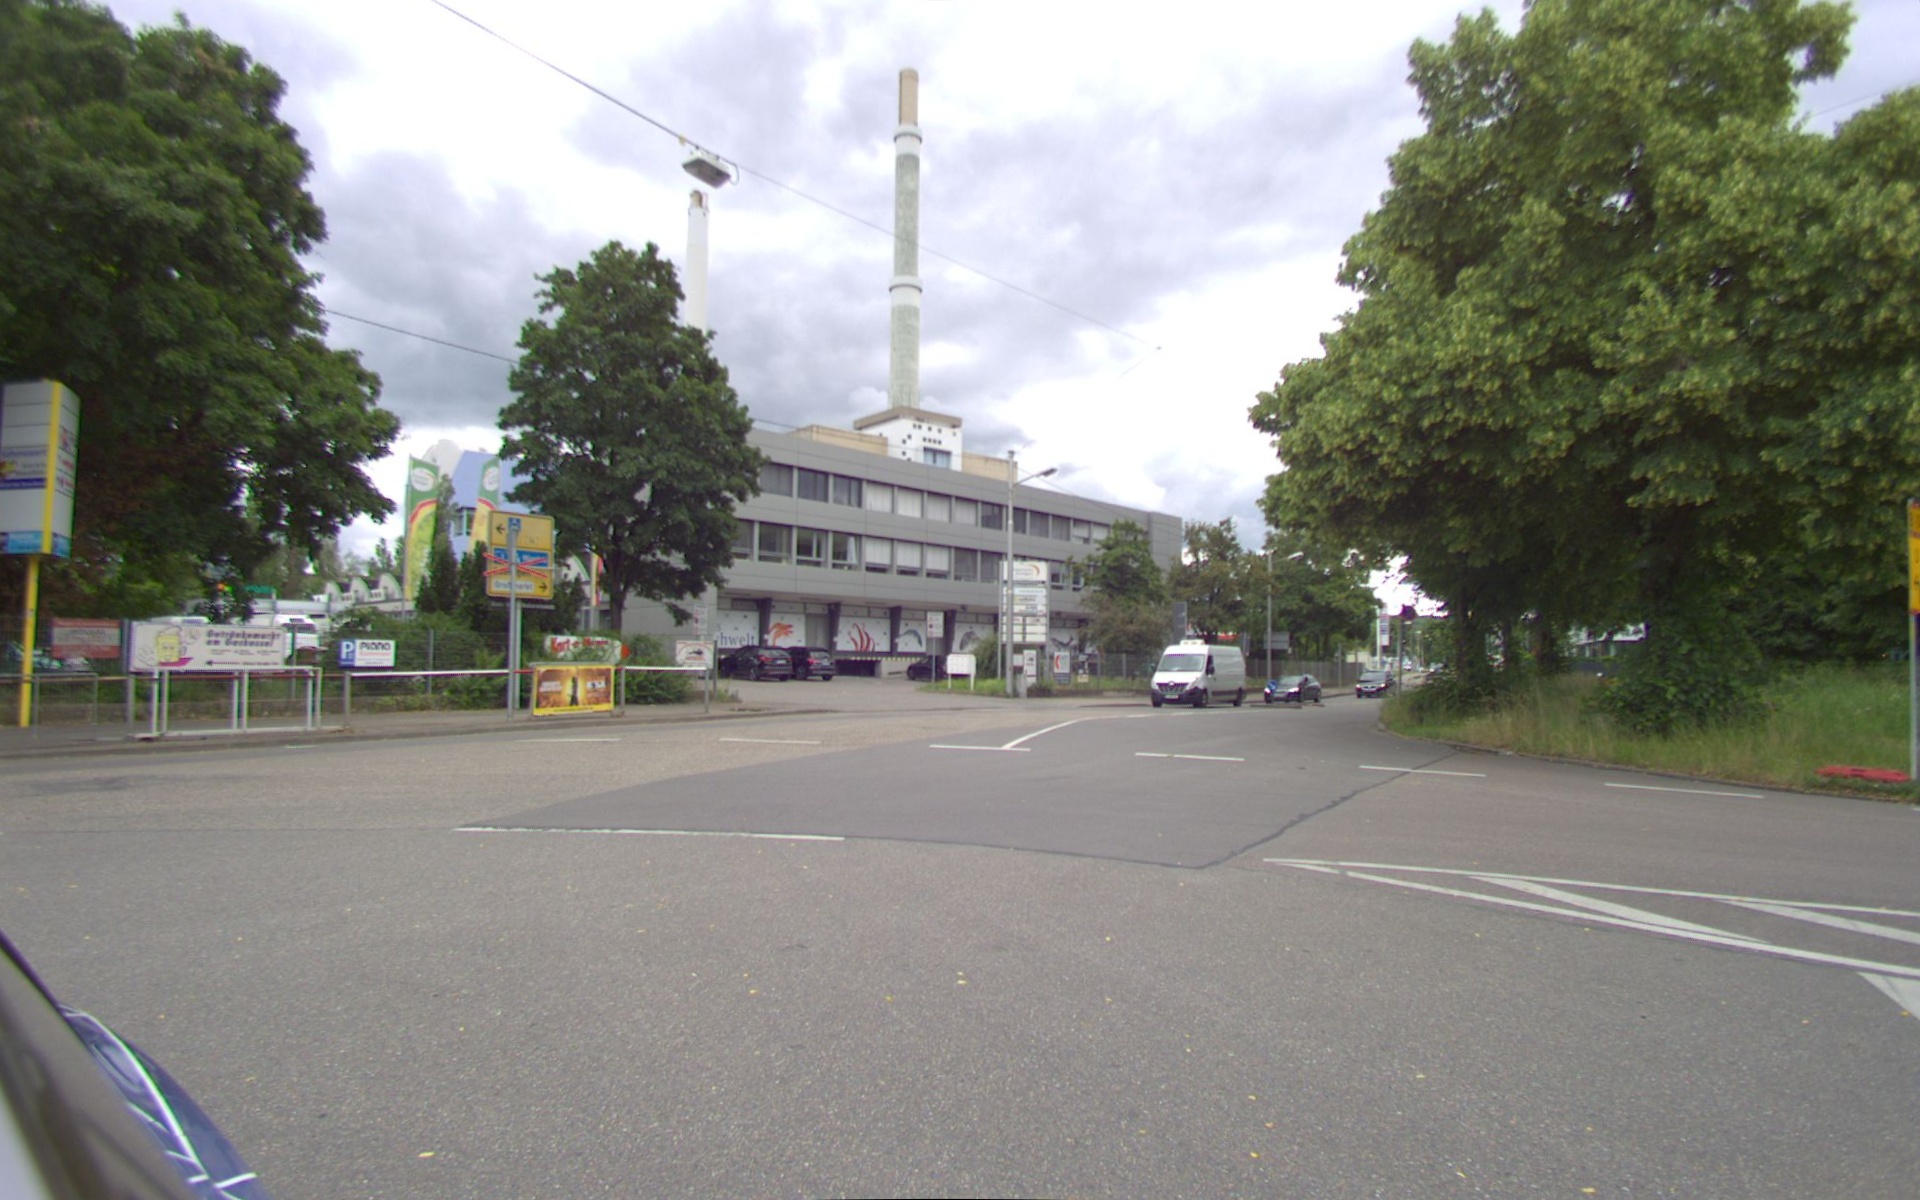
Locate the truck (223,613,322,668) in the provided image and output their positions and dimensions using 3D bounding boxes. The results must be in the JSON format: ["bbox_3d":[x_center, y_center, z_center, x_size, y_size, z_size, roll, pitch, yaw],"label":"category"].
[{"bbox_3d":[-54.188,3.305,79.428,15.727,3.964,2.812,-3,-5,43],"label":"truck"}]

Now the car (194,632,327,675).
[{"bbox_3d":[-47.672,3.732,69.163,2.244,2.754,7.050,-3,-6,44],"label":"car"}]

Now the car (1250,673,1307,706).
[{"bbox_3d":[15.943,4.438,50.581,1.858,1.524,4.396,-2,-4,29],"label":"car"}]

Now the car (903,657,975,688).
[{"bbox_3d":[-1.207,3.942,55.508,2.015,1.456,4.844,2,-2,-27],"label":"car"}]

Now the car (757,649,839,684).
[{"bbox_3d":[-8.183,3.331,50.930,1.812,1.630,4.426,4,-4,-45],"label":"car"}]

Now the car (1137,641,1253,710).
[{"bbox_3d":[9.238,2.918,39.356,2.383,2.478,6.030,-3,-5,33],"label":"car"}]

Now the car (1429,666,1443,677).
[{"bbox_3d":[68.977,10.357,146.674,1.786,1.653,4.403,-2,-4,25],"label":"car"}]

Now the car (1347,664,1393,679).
[{"bbox_3d":[53.400,9.319,131.764,5.435,1.884,2.009,-2,-4,26],"label":"car"}]

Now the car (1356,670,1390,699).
[{"bbox_3d":[24.706,5.019,60.580,1.784,1.653,4.407,-1,-4,22],"label":"car"}]

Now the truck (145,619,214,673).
[{"bbox_3d":[-63.516,3.801,82.287,9.191,4.198,2.956,-3,-5,44],"label":"truck"}]

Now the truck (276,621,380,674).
[{"bbox_3d":[-51.628,3.972,82.344,15.724,3.964,2.812,-3,-5,42],"label":"truck"}]

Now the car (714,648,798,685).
[{"bbox_3d":[-9.905,3.172,48.891,1.811,1.630,4.469,4,-4,-44],"label":"car"}]

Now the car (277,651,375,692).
[{"bbox_3d":[-20.718,2.312,33.051,3.700,1.258,1.686,-3,-5,41],"label":"car"}]
